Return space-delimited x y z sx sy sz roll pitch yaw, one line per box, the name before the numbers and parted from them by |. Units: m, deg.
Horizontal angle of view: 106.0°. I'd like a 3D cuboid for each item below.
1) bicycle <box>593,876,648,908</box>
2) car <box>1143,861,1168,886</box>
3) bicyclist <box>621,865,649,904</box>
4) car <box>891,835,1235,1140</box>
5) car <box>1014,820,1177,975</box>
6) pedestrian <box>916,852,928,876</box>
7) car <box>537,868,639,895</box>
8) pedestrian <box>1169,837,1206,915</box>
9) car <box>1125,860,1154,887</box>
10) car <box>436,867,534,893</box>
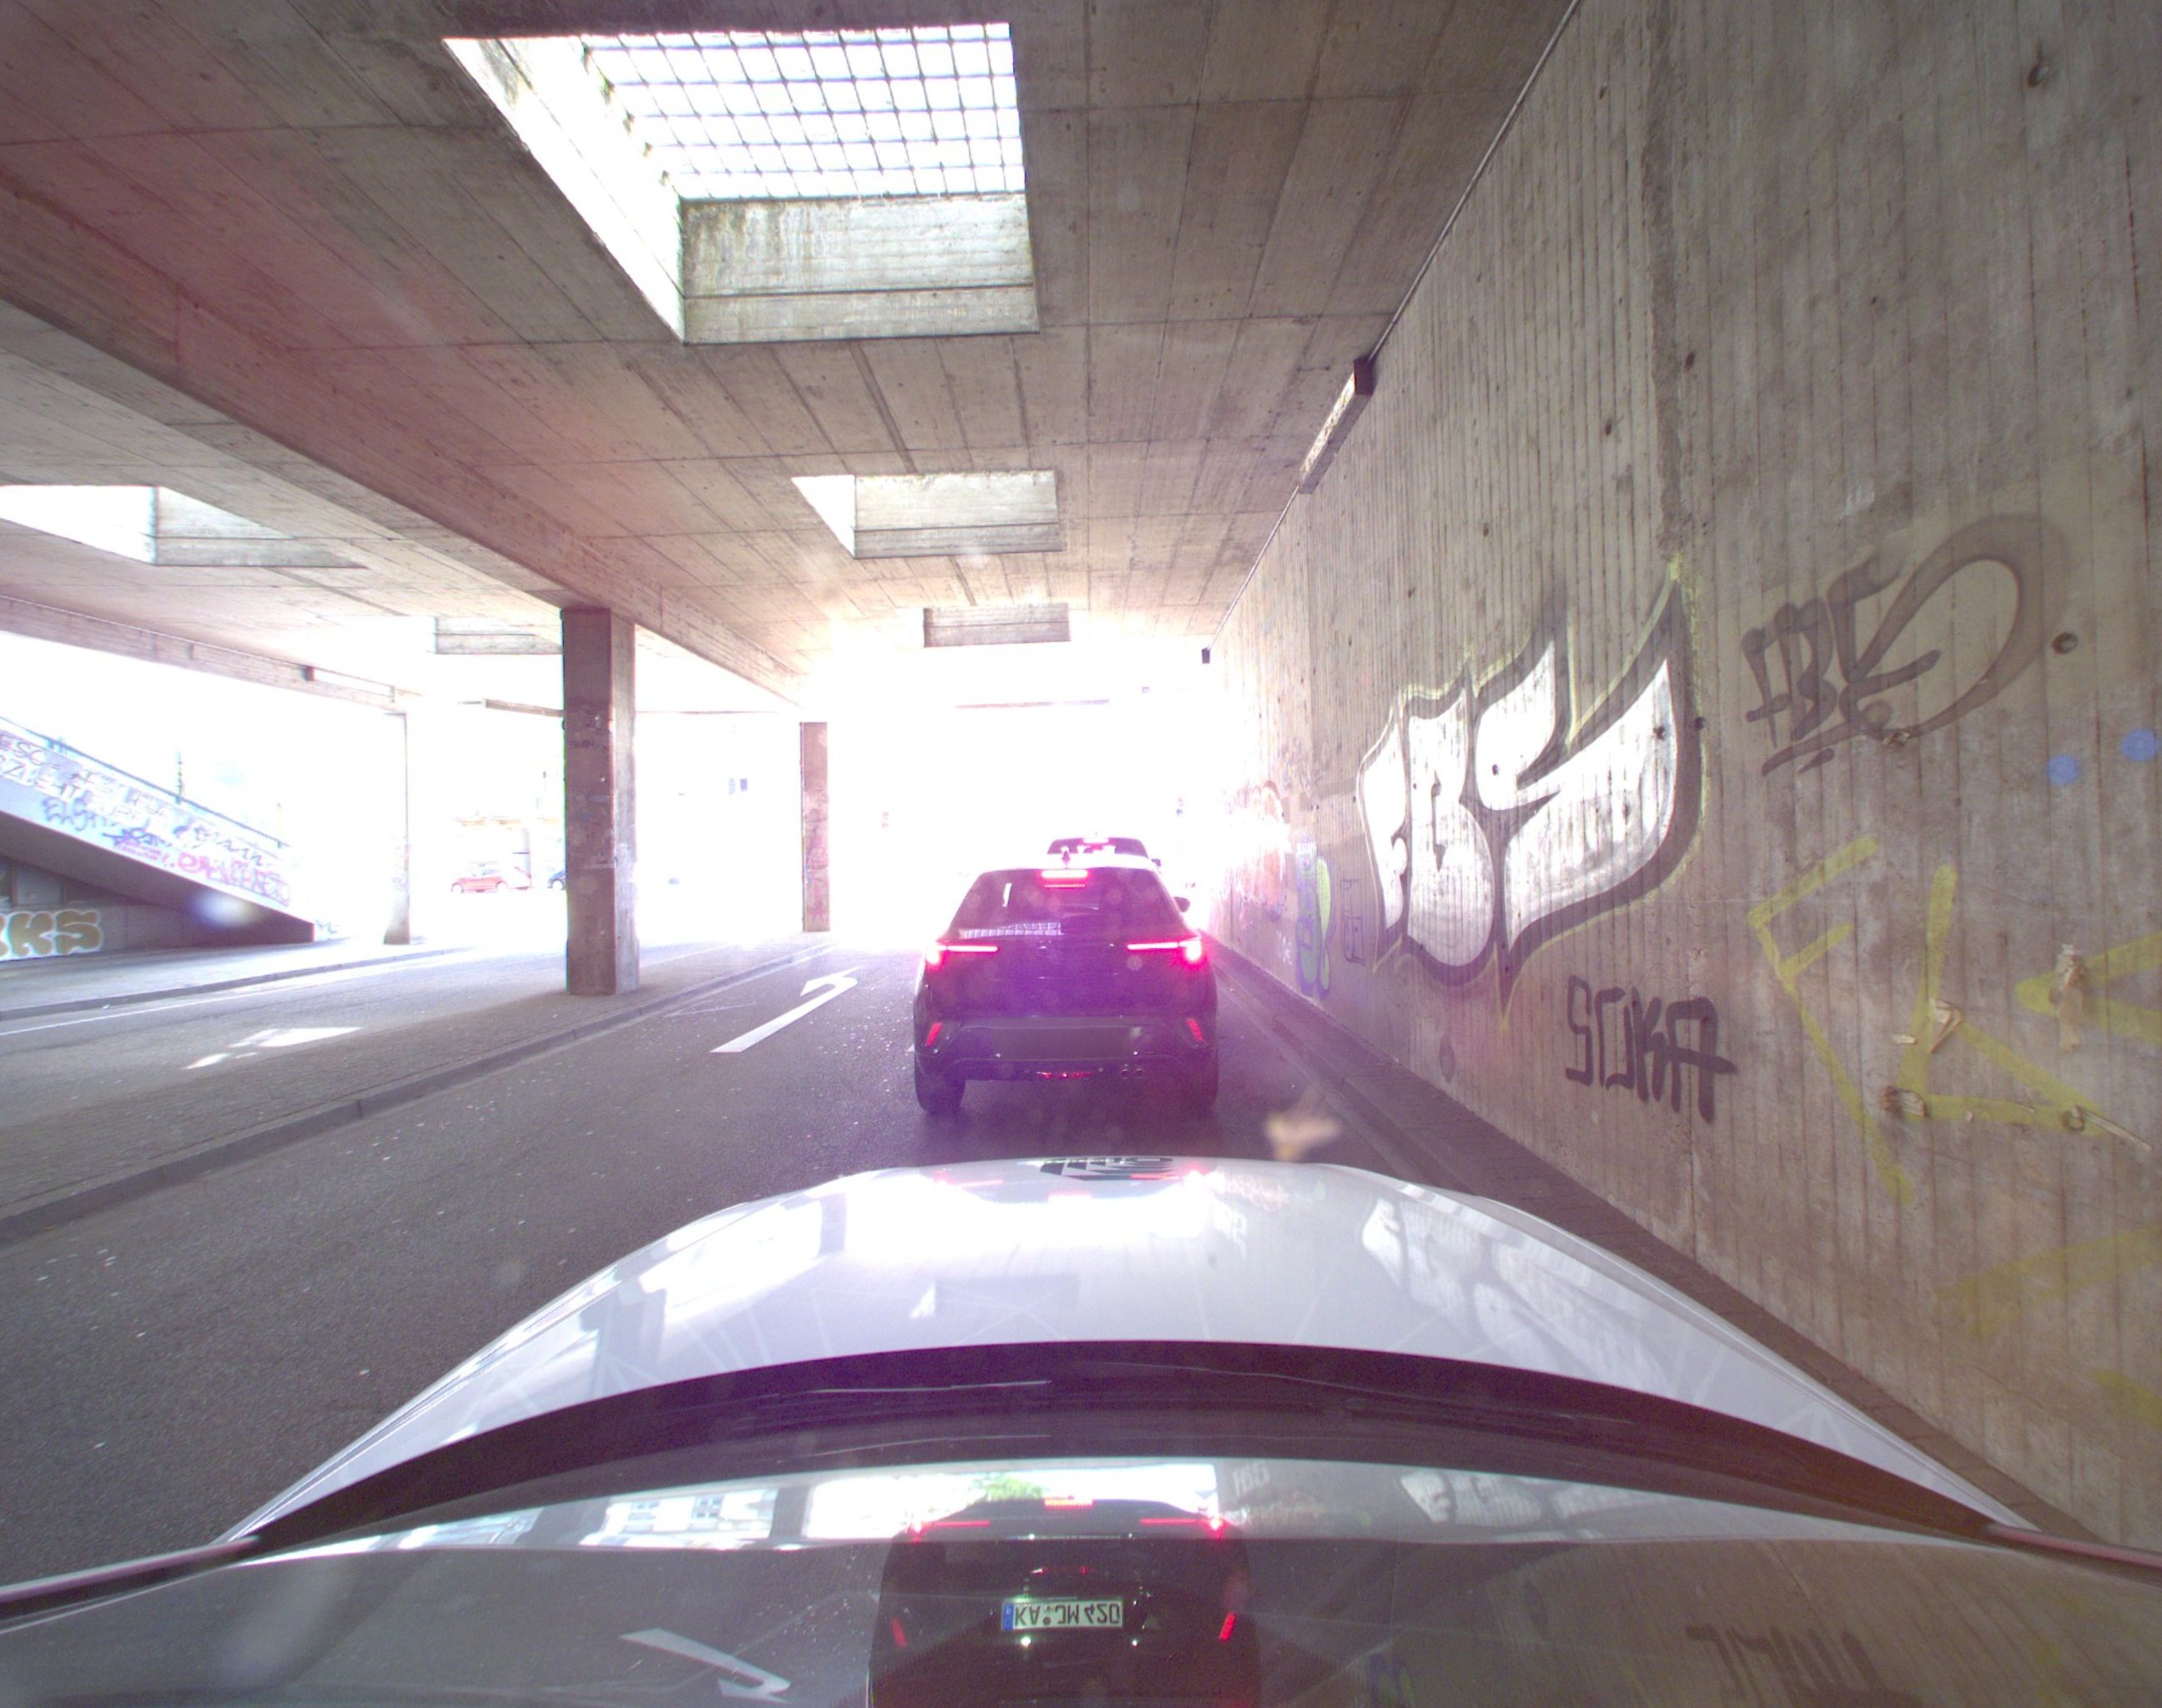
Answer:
bicycle | -16.385 1.352 28.994 1.732 1.118 0.477 0 -1 4
car | 6.298 1.623 68.317 1.983 1.970 4.172 0 -1 7
bicyclist | -15.867 1.076 28.962 0.742 1.376 0.453 0 -1 4
car | -0.030 0.654 6.196 1.758 1.571 4.002 0 1 2
car | 0.245 0.541 12.172 1.986 1.871 4.002 -2 0 2
pedestrian | -11.074 0.682 56.607 0.669 1.637 0.741 0 -1 1
car | -27.276 1.497 45.170 4.393 1.409 1.925 0 -1 -1
pedestrian | 2.433 0.491 18.674 0.728 1.734 0.874 0 -1 1
car | 4.522 1.437 62.390 1.983 1.970 4.172 0 -1 7
car | -33.072 1.424 45.278 3.975 1.409 1.925 0 -1 -1
